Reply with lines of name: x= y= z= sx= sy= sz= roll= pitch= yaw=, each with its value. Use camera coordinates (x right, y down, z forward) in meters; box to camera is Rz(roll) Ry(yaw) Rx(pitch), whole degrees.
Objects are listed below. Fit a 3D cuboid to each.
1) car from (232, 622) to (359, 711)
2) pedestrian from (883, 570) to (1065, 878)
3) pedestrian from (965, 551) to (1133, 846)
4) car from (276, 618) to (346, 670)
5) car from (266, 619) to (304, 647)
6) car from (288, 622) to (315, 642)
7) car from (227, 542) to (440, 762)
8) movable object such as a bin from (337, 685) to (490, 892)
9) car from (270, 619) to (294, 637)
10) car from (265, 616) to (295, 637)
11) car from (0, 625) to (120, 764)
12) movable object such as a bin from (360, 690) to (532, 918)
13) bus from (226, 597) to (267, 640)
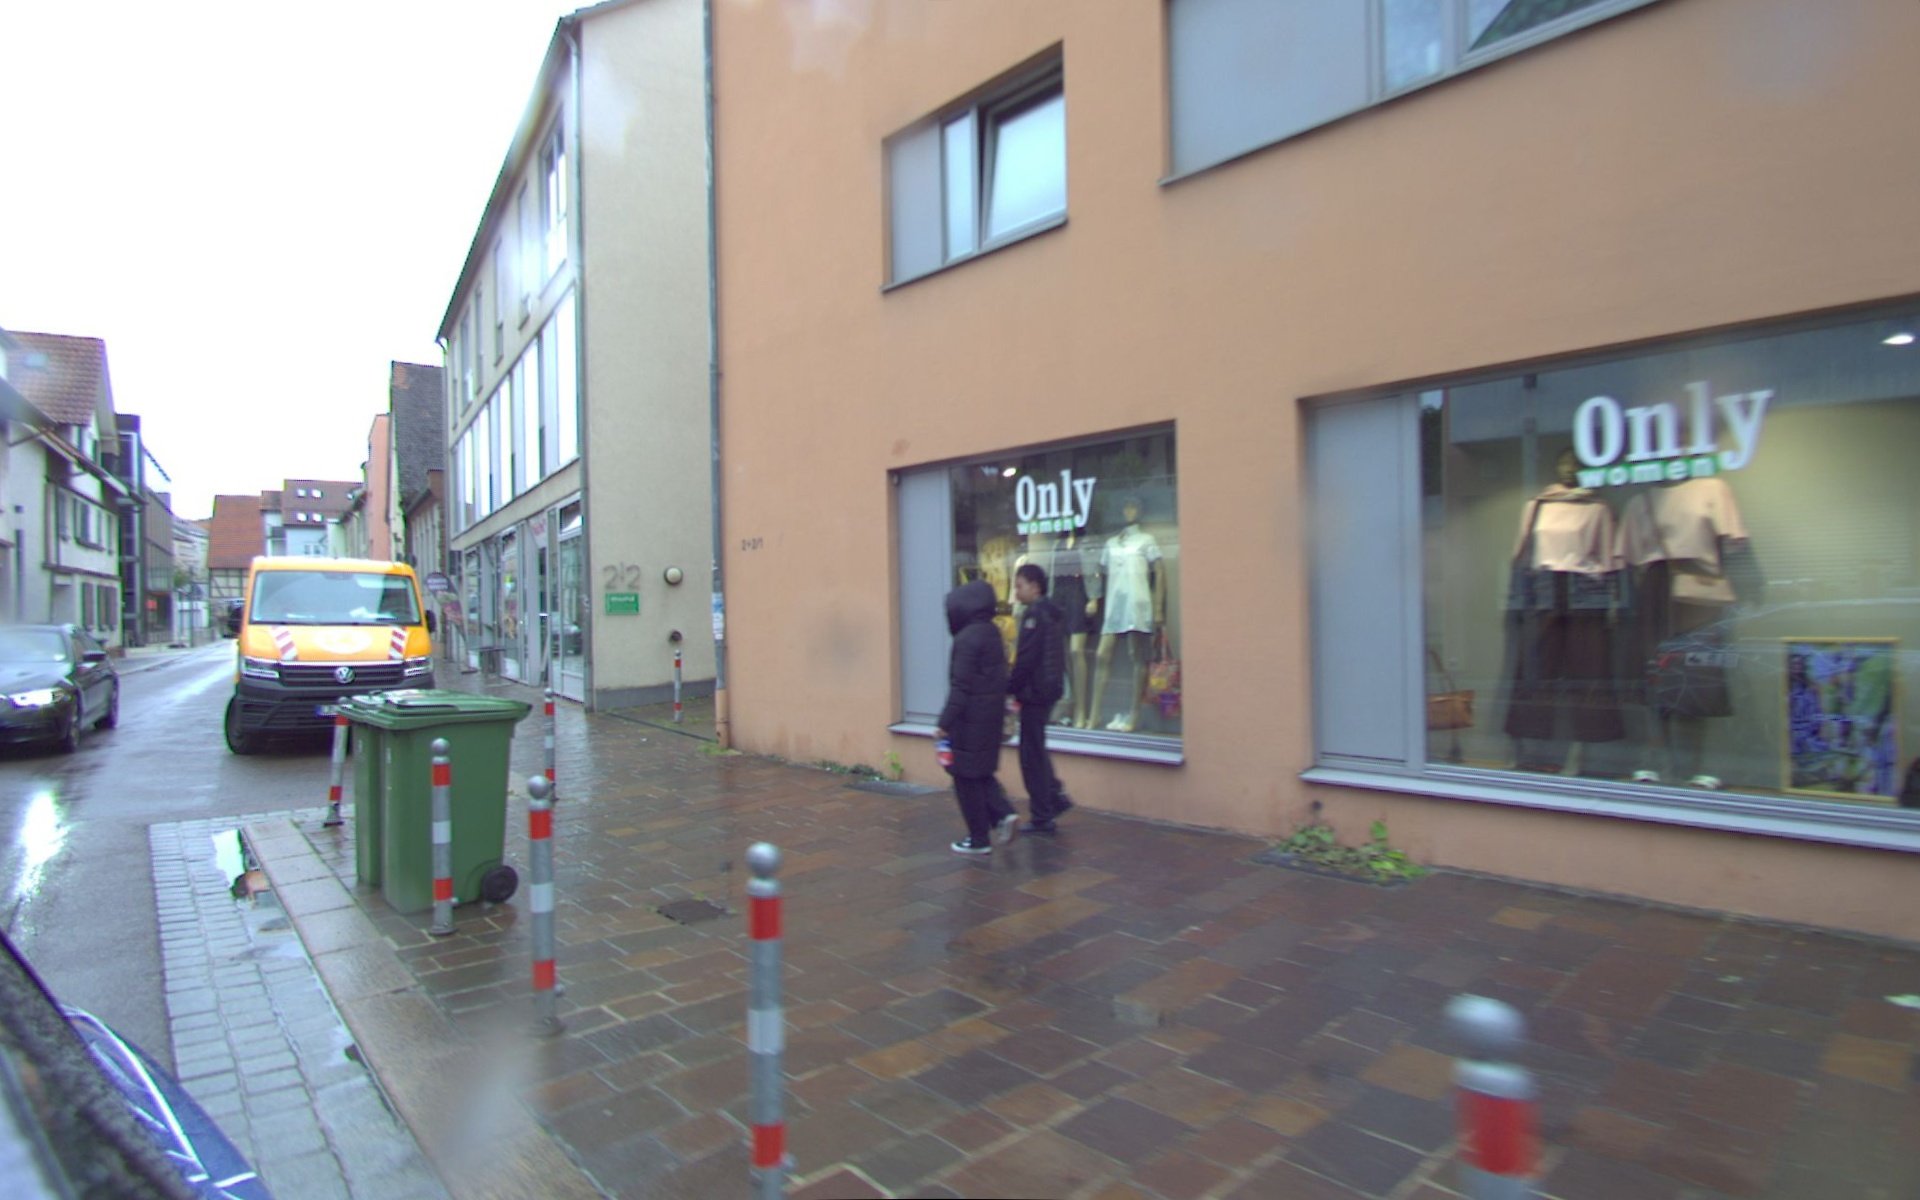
car: x=-12.094 y=1.116 z=18.327 sx=1.733 sy=1.366 sz=4.492 roll=0 pitch=-1 yaw=-35
pedestrian: x=0.081 y=0.669 z=5.968 sx=0.706 sy=1.652 sz=0.746 roll=-2 pitch=0 yaw=-42
pedestrian: x=0.558 y=0.576 z=6.425 sx=0.615 sy=1.725 sz=0.810 roll=-2 pitch=0 yaw=-42
car: x=-21.014 y=1.369 z=32.707 sx=1.712 sy=1.537 sz=3.940 roll=0 pitch=-1 yaw=-36
car: x=-35.559 y=1.722 z=53.350 sx=1.605 sy=1.377 sz=3.498 roll=-1 pitch=-1 yaw=-33
car: x=-47.038 y=2.279 z=72.292 sx=1.605 sy=1.377 sz=3.498 roll=-1 pitch=-1 yaw=-33
car: x=-8.434 y=0.579 z=13.341 sx=1.967 sy=2.257 sz=5.875 roll=0 pitch=-1 yaw=-36
movable object such as a bin: x=-3.173 y=1.047 z=5.873 sx=0.648 sy=1.044 sz=0.610 roll=0 pitch=-1 yaw=-44
car: x=-57.180 y=2.366 z=85.340 sx=1.605 sy=1.377 sz=3.498 roll=-1 pitch=-1 yaw=-33
car: x=-54.528 y=2.144 z=81.140 sx=1.966 sy=1.608 sz=4.011 roll=0 pitch=-1 yaw=-34
car: x=-11.592 y=1.033 z=12.049 sx=1.916 sy=1.413 sz=4.432 roll=0 pitch=-1 yaw=-33
movable object such as a bin: x=-2.702 y=1.019 z=5.329 sx=0.648 sy=1.044 sz=0.610 roll=2 pitch=-3 yaw=-43
bus: x=-57.030 y=1.454 z=81.017 sx=2.569 sy=3.218 sz=7.394 roll=0 pitch=-1 yaw=-35
